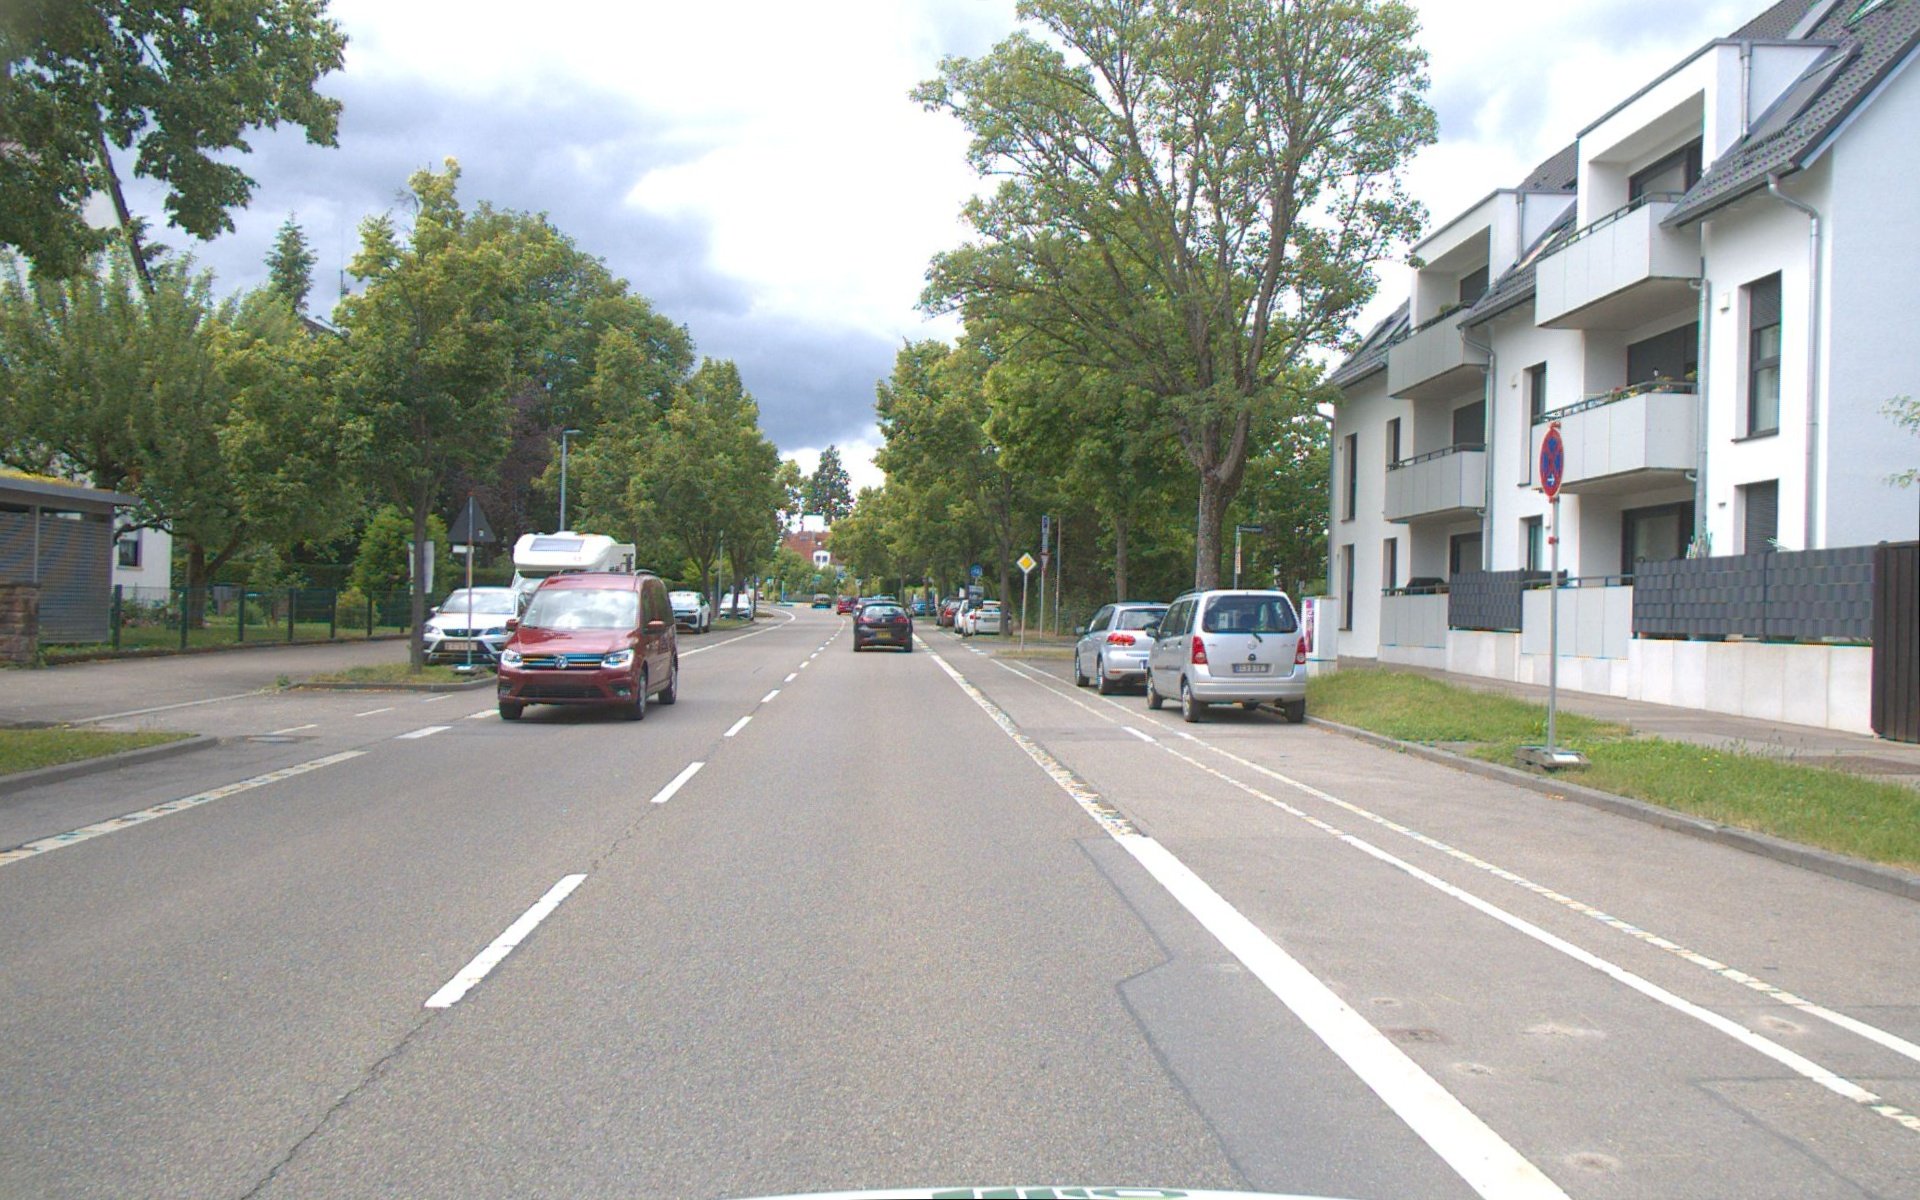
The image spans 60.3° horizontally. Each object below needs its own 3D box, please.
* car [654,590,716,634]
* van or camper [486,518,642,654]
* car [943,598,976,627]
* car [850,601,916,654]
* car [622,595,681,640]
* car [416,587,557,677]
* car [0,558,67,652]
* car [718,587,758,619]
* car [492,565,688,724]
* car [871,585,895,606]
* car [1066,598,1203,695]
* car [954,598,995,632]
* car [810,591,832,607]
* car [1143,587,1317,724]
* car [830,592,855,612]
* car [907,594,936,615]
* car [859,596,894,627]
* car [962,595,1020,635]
[{"bbox_3d":[-11.119,0.457,67.186,1.780,1.681,4.698,1,0,-1],"label":"car"},{"bbox_3d":[-9.729,-0.323,41.412,2.386,3.062,7.688,1,0,-3],"label":"van or camper"},{"bbox_3d":[-0.032,0.646,86.213,1.605,1.445,3.999,0,0,-2],"label":"car"},{"bbox_3d":[-2.279,0.772,48.423,1.748,1.474,3.554,1,0,-5],"label":"car"},{"bbox_3d":[-10.665,0.578,57.386,1.525,1.496,4.448,1,0,-5],"label":"car"},{"bbox_3d":[-9.202,0.583,32.465,1.688,1.628,4.270,1,0,-3],"label":"car"},{"bbox_3d":[-16.632,0.075,27.317,1.672,1.557,3.998,1,0,-2],"label":"car"},{"bbox_3d":[-12.655,0.160,94.453,1.836,1.718,4.862,0,0,-3],"label":"car"},{"bbox_3d":[-4.706,0.521,21.681,1.725,1.834,4.766,1,0,-3],"label":"car"},{"bbox_3d":[-6.943,-0.390,148.468,1.755,1.803,3.975,1,0,-8],"label":"car"},{"bbox_3d":[2.892,0.739,28.265,1.654,1.519,4.224,0,0,-3],"label":"car"},{"bbox_3d":[0.633,0.638,74.343,1.583,1.485,3.655,0,0,-3],"label":"car"},{"bbox_3d":[-14.072,-0.043,167.231,1.956,1.534,3.993,1,-1,-8],"label":"car"},{"bbox_3d":[3.572,0.691,22.455,1.600,1.694,3.646,1,0,-3],"label":"car"},{"bbox_3d":[-9.532,0.132,133.505,1.954,1.557,3.996,1,0,-5],"label":"car"},{"bbox_3d":[-2.821,0.325,121.096,1.651,1.457,4.037,1,0,-8],"label":"car"},{"bbox_3d":[-4.922,0.652,97.216,1.954,1.584,3.998,1,2,-4],"label":"car"},{"bbox_3d":[1.201,0.565,65.913,1.980,1.469,5.022,1,0,-3],"label":"car"}]
